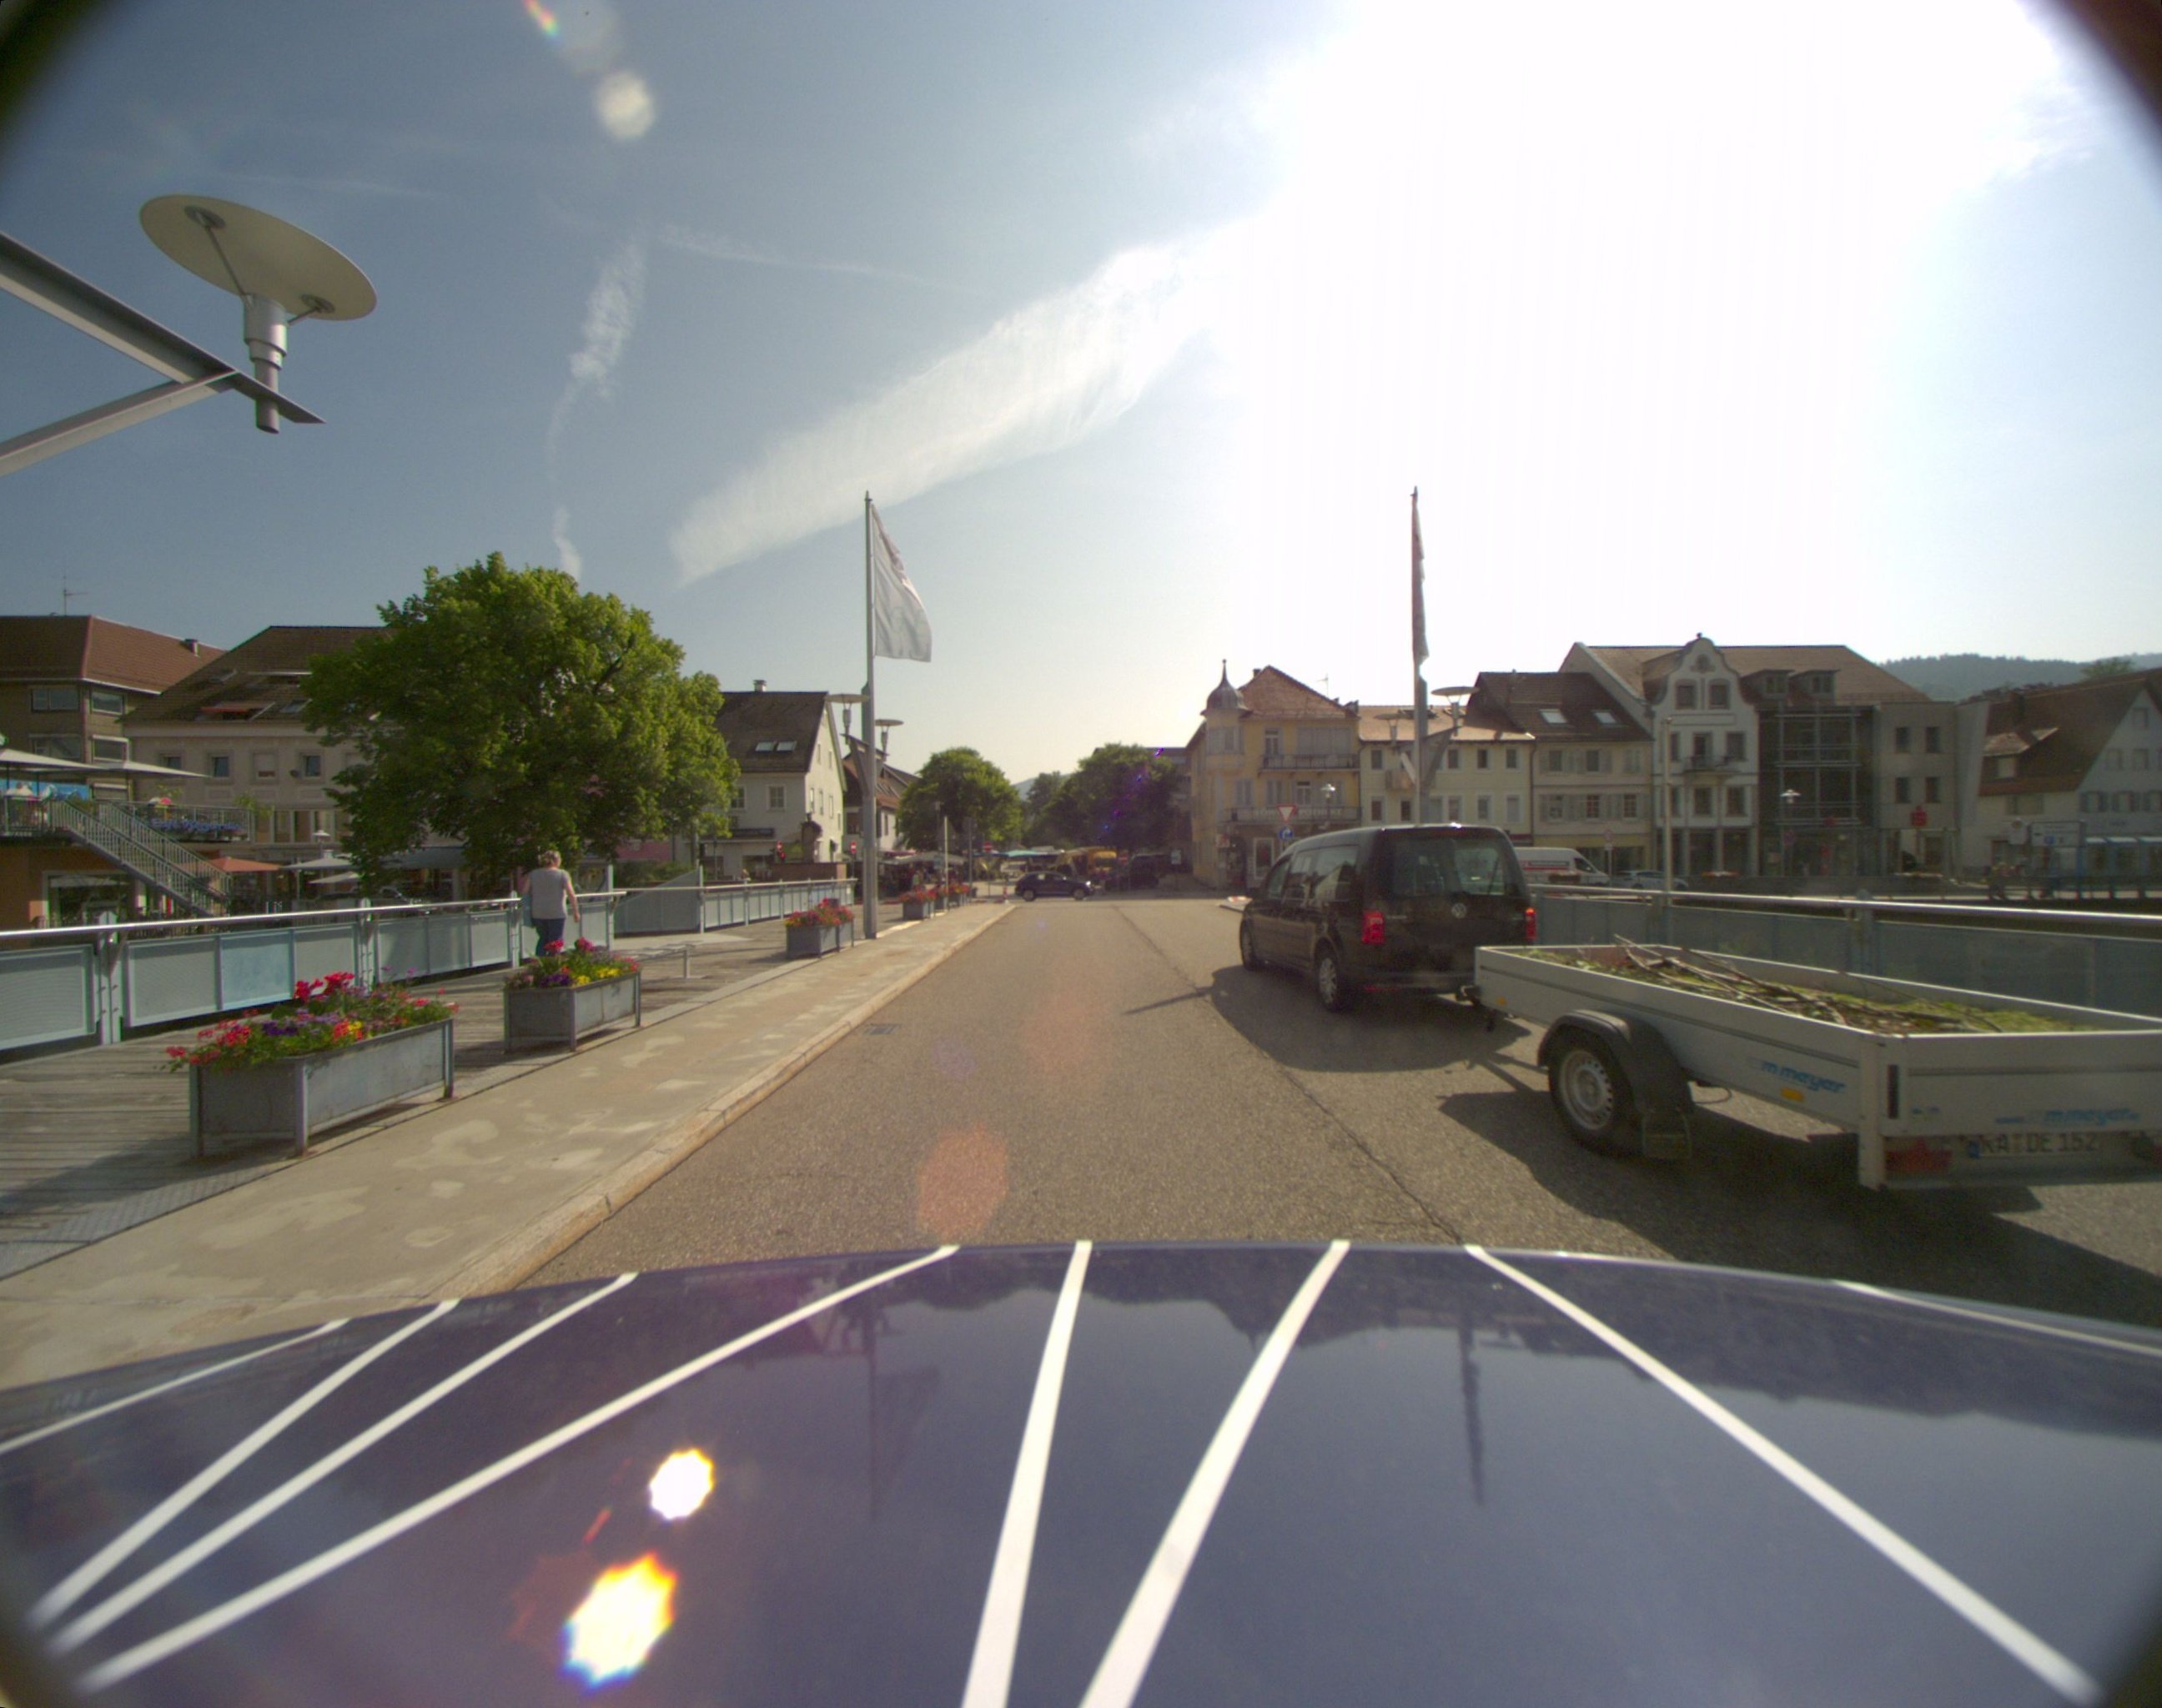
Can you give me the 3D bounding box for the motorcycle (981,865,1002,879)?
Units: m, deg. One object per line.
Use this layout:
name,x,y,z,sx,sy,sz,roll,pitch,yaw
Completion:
motorcycle,-8.058,1.608,68.065,1.999,1.189,0.645,2,0,40

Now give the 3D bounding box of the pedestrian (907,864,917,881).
pedestrian,-14.268,1.559,64.140,0.626,1.323,0.699,1,1,1

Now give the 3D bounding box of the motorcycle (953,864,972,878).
motorcycle,-10.529,1.550,67.526,1.532,1.189,0.643,2,0,-2

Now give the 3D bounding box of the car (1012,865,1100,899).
car,-1.326,1.468,40.107,4.498,1.557,1.824,-2,2,-5

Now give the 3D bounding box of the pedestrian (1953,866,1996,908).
pedestrian,37.351,1.355,31.757,0.776,1.696,0.869,-1,1,0

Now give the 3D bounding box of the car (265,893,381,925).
car,-38.629,2.779,38.808,3.998,1.439,1.735,-1,0,-4

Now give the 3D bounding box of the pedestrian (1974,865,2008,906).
pedestrian,38.036,1.302,31.761,0.491,1.696,0.792,-1,1,0

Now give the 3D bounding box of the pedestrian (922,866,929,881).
pedestrian,-12.776,1.634,62.415,0.572,1.194,0.650,1,1,-12

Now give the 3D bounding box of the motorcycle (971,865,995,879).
motorcycle,-8.631,1.586,67.050,2.002,1.189,0.644,2,0,11

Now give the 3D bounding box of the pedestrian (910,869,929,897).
pedestrian,-9.632,1.727,45.281,0.787,1.623,0.859,-1,3,7

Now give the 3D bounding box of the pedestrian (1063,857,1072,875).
pedestrian,-1.282,1.137,72.544,0.682,1.672,0.582,-3,2,-19

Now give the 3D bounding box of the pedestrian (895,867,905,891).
pedestrian,-12.391,1.701,52.076,0.522,1.617,0.707,-1,0,-6

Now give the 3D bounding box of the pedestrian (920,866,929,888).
pedestrian,-11.097,1.627,53.822,0.622,1.509,0.632,-1,0,-12

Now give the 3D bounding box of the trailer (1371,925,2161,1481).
trailer,3.335,1.100,4.098,1.755,1.016,4.184,0,0,-3

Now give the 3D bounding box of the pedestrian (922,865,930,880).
pedestrian,-13.264,1.591,64.961,0.572,1.194,0.650,1,1,-1

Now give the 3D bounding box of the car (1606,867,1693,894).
car,32.832,1.526,43.956,3.793,1.439,1.752,-1,0,-4

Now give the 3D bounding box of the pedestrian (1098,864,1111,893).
pedestrian,1.417,1.482,46.022,0.680,1.705,0.617,-2,1,-3

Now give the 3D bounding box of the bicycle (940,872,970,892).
bicycle,-8.180,1.833,49.368,1.863,1.228,0.616,-1,0,-15

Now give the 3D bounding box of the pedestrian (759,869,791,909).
pedestrian,-14.155,1.600,35.136,1.018,1.804,0.909,-1,-2,29

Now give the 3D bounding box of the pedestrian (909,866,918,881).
pedestrian,-13.766,1.594,62.597,0.572,1.194,0.650,1,1,-1

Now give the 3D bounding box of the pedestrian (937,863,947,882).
pedestrian,-11.404,1.524,62.433,0.698,1.544,0.572,1,1,4

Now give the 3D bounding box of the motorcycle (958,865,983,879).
motorcycle,-9.655,1.564,66.490,2.002,1.189,0.644,2,1,11

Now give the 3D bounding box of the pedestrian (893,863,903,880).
pedestrian,-15.048,1.447,62.629,0.626,1.323,0.699,1,1,1

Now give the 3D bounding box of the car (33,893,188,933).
car,-45.209,2.722,35.473,4.592,1.588,1.750,-2,1,-5

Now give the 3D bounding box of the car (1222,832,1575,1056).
car,3.070,0.756,8.622,1.782,1.782,4.695,-2,0,-3

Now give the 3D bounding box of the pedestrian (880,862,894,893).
pedestrian,-12.472,1.518,48.817,0.708,1.973,0.651,-1,0,-23

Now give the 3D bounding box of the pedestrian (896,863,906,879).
pedestrian,-15.027,1.415,63.553,0.626,1.323,0.699,1,1,1

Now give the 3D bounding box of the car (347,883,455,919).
car,-37.421,2.574,41.886,4.144,1.729,1.711,-2,2,-5

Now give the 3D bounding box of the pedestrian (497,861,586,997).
pedestrian,-6.637,0.899,9.367,0.668,1.609,0.563,-1,0,-7

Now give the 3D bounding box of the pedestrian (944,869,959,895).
pedestrian,-8.183,1.777,48.085,0.884,1.649,0.571,1,1,-15

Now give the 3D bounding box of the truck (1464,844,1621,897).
truck,24.368,0.875,40.269,7.129,2.682,2.112,0,-2,-3

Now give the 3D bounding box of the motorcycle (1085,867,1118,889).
motorcycle,1.417,1.634,52.326,2.087,1.353,0.888,-3,0,-4

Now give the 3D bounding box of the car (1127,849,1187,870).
car,6.848,0.499,68.792,5.072,1.880,1.999,-1,0,-6

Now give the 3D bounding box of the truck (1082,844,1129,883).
truck,1.806,0.614,60.220,3.009,2.742,8.857,-2,1,-2

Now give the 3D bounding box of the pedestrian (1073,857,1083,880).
pedestrian,-0.246,1.170,61.481,0.681,1.776,0.726,-3,2,-4

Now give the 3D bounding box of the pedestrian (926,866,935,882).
pedestrian,-12.195,1.621,61.638,0.700,1.194,0.571,1,1,-16

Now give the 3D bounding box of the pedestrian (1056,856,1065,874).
pedestrian,-1.975,1.072,72.813,0.682,1.672,0.582,-3,0,-17

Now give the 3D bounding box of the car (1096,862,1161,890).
car,3.138,1.394,49.668,3.966,1.534,1.918,-3,2,-41
